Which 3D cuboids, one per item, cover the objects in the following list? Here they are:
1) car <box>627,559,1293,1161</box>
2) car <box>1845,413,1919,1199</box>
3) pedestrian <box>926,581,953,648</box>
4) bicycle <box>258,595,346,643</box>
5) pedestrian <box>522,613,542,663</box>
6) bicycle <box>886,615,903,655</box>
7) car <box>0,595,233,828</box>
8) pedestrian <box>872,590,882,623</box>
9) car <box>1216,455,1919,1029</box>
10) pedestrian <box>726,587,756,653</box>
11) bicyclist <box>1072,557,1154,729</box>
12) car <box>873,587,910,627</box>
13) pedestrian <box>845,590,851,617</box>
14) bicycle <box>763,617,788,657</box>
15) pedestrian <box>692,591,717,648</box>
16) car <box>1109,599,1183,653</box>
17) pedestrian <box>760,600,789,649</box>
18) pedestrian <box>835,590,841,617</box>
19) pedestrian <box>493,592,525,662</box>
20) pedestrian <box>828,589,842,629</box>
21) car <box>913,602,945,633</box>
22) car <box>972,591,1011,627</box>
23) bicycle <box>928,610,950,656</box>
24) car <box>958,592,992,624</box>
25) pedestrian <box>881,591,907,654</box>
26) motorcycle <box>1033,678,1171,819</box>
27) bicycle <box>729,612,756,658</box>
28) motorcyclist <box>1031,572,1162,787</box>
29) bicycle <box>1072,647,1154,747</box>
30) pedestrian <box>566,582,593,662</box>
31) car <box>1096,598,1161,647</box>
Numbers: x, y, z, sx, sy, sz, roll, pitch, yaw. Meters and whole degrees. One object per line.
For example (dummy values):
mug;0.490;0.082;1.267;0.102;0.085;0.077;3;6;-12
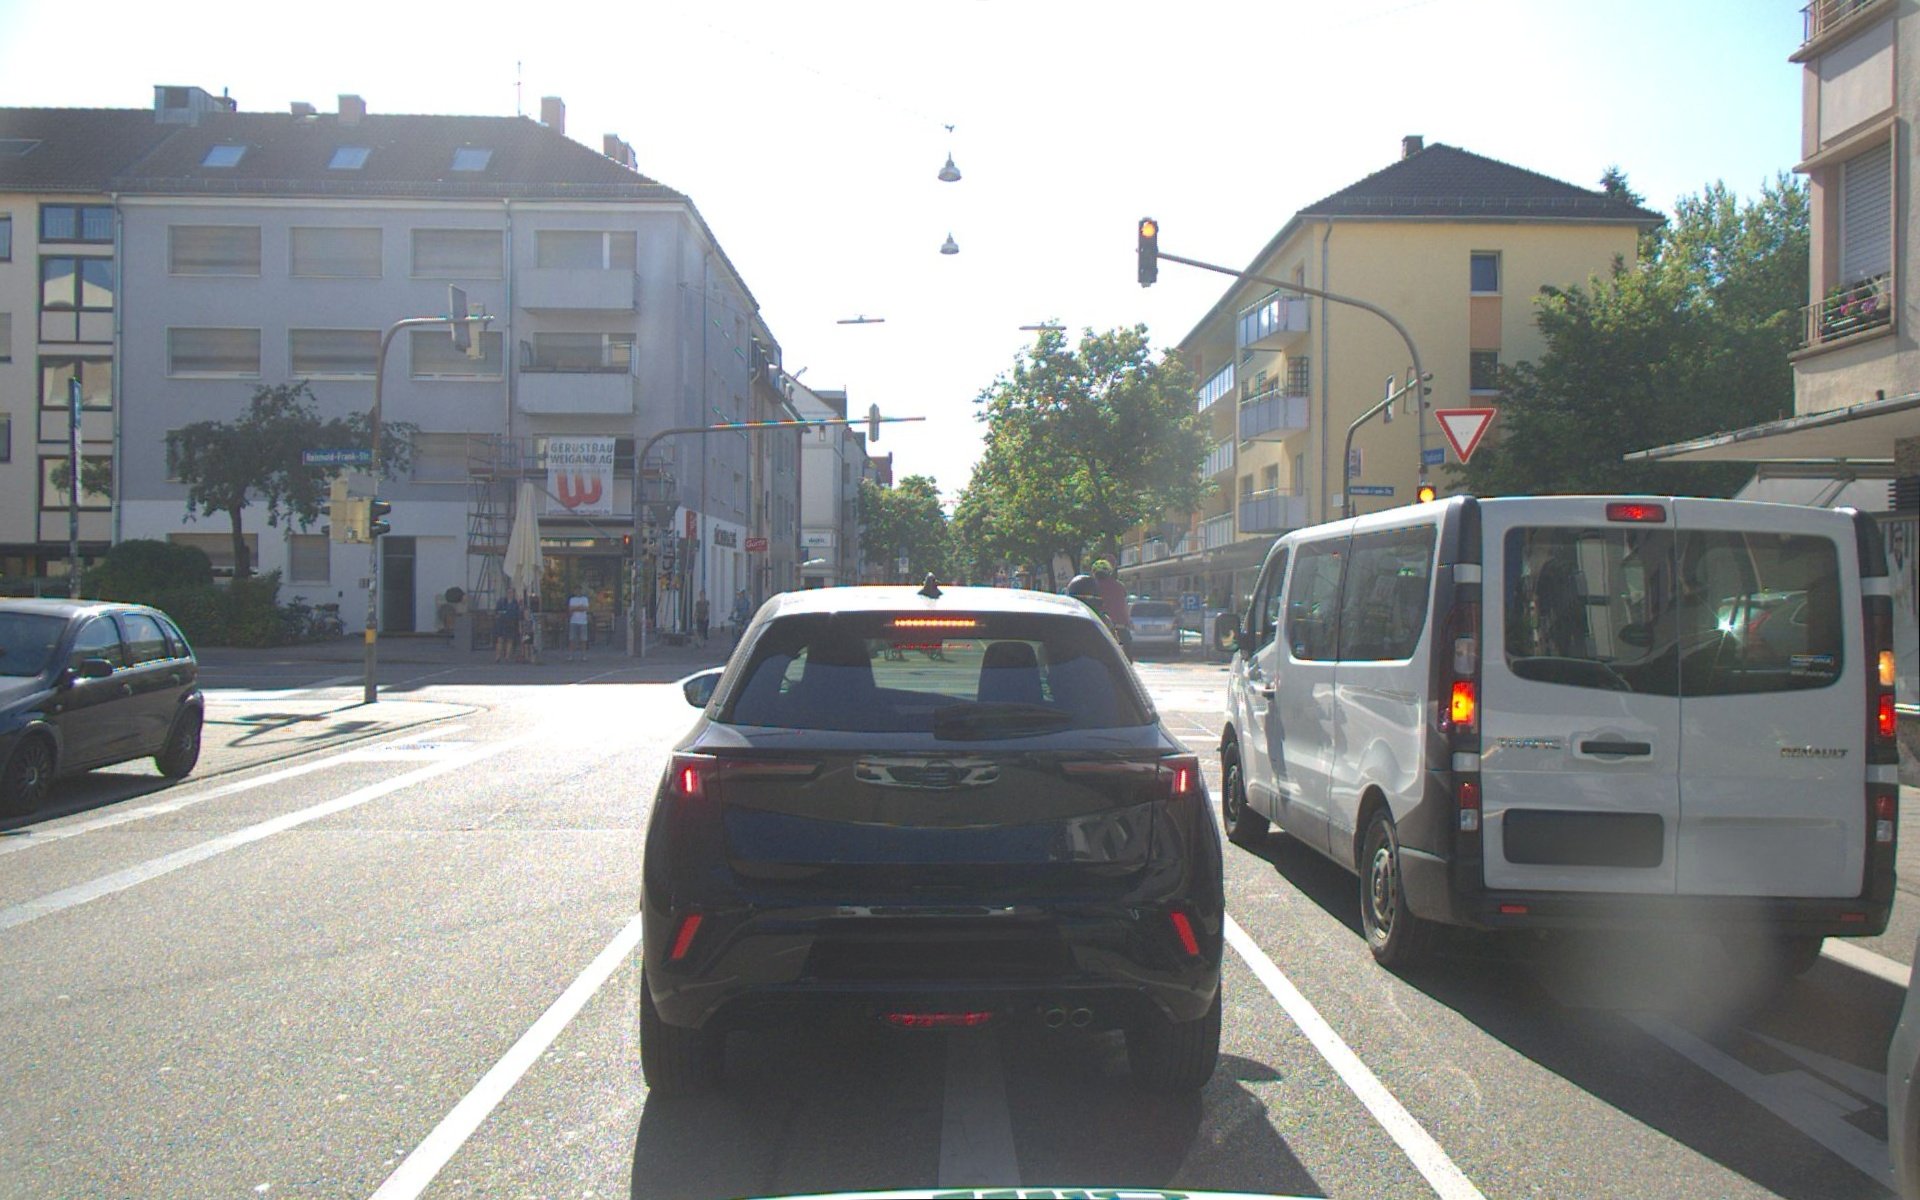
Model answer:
car;-0.079;0.670;6.321;1.735;1.557;3.998;0;0;-3
car;3.005;0.578;1.248;1.800;1.901;4.993;0;0;-3
pedestrian;-0.543;0.367;43.414;0.692;1.731;0.802;0;0;-3
bicycle;-16.942;0.478;42.591;2.067;1.193;0.735;0;0;-25
pedestrian;-9.642;0.853;37.259;0.348;1.111;0.461;0;0;-4
bicycle;-1.743;0.911;43.920;0.434;1.010;2.068;0;0;-3
car;-7.071;0.725;12.421;1.584;1.450;3.709;3;0;-1
pedestrian;-4.427;0.354;87.980;0.478;1.719;0.588;0;0;-1
car;2.736;0.512;8.412;1.953;2.014;4.894;2;0;-1
pedestrian;-5.760;0.524;43.502;0.692;1.707;0.802;0;0;-3
bicyclist;1.603;0.435;17.529;0.675;1.742;1.413;0;0;-3
car;-3.532;0.350;86.262;1.817;2.049;3.880;0;0;-1
pedestrian;-7.112;0.227;105.031;0.394;1.704;0.417;0;0;-1
bicycle;-4.881;0.965;43.808;0.511;1.010;2.338;0;0;-3
pedestrian;-6.989;0.529;45.340;0.605;1.547;0.724;0;0;-4
car;5.272;0.706;47.301;1.601;1.458;3.956;0;0;-1
pedestrian;-4.867;0.635;43.482;0.692;1.275;0.802;0;0;-3
pedestrian;-7.768;0.237;105.337;0.394;1.704;0.417;0;0;-1
pedestrian;-10.158;0.603;37.263;0.573;1.547;0.649;0;0;-4
pedestrian;-5.403;0.398;71.721;0.558;1.719;0.588;0;0;-1
car;-1.838;1.044;99.973;1.787;1.758;4.000;0;0;1
car;1.549;0.423;82.223;1.863;1.758;4.073;0;0;0
bicycle;-0.556;0.852;43.535;0.511;1.167;2.169;0;0;-3
car;0.831;0.443;93.190;1.863;1.758;4.000;0;0;0
pedestrian;-1.744;0.591;43.770;0.666;1.634;0.762;0;0;-3
motorcycle;1.005;1.048;12.127;0.808;0.860;1.884;0;0;-1
bicycle;-5.756;0.918;43.882;0.511;1.167;2.282;0;0;-3
motorcyclist;0.998;0.565;12.378;0.846;1.528;1.159;0;0;-2
bicycle;1.605;1.004;17.671;0.565;0.920;2.300;0;0;-3
pedestrian;-8.725;0.501;37.926;0.550;1.806;0.582;1;0;-9
car;5.250;0.675;51.935;1.601;1.458;3.999;0;0;-1
